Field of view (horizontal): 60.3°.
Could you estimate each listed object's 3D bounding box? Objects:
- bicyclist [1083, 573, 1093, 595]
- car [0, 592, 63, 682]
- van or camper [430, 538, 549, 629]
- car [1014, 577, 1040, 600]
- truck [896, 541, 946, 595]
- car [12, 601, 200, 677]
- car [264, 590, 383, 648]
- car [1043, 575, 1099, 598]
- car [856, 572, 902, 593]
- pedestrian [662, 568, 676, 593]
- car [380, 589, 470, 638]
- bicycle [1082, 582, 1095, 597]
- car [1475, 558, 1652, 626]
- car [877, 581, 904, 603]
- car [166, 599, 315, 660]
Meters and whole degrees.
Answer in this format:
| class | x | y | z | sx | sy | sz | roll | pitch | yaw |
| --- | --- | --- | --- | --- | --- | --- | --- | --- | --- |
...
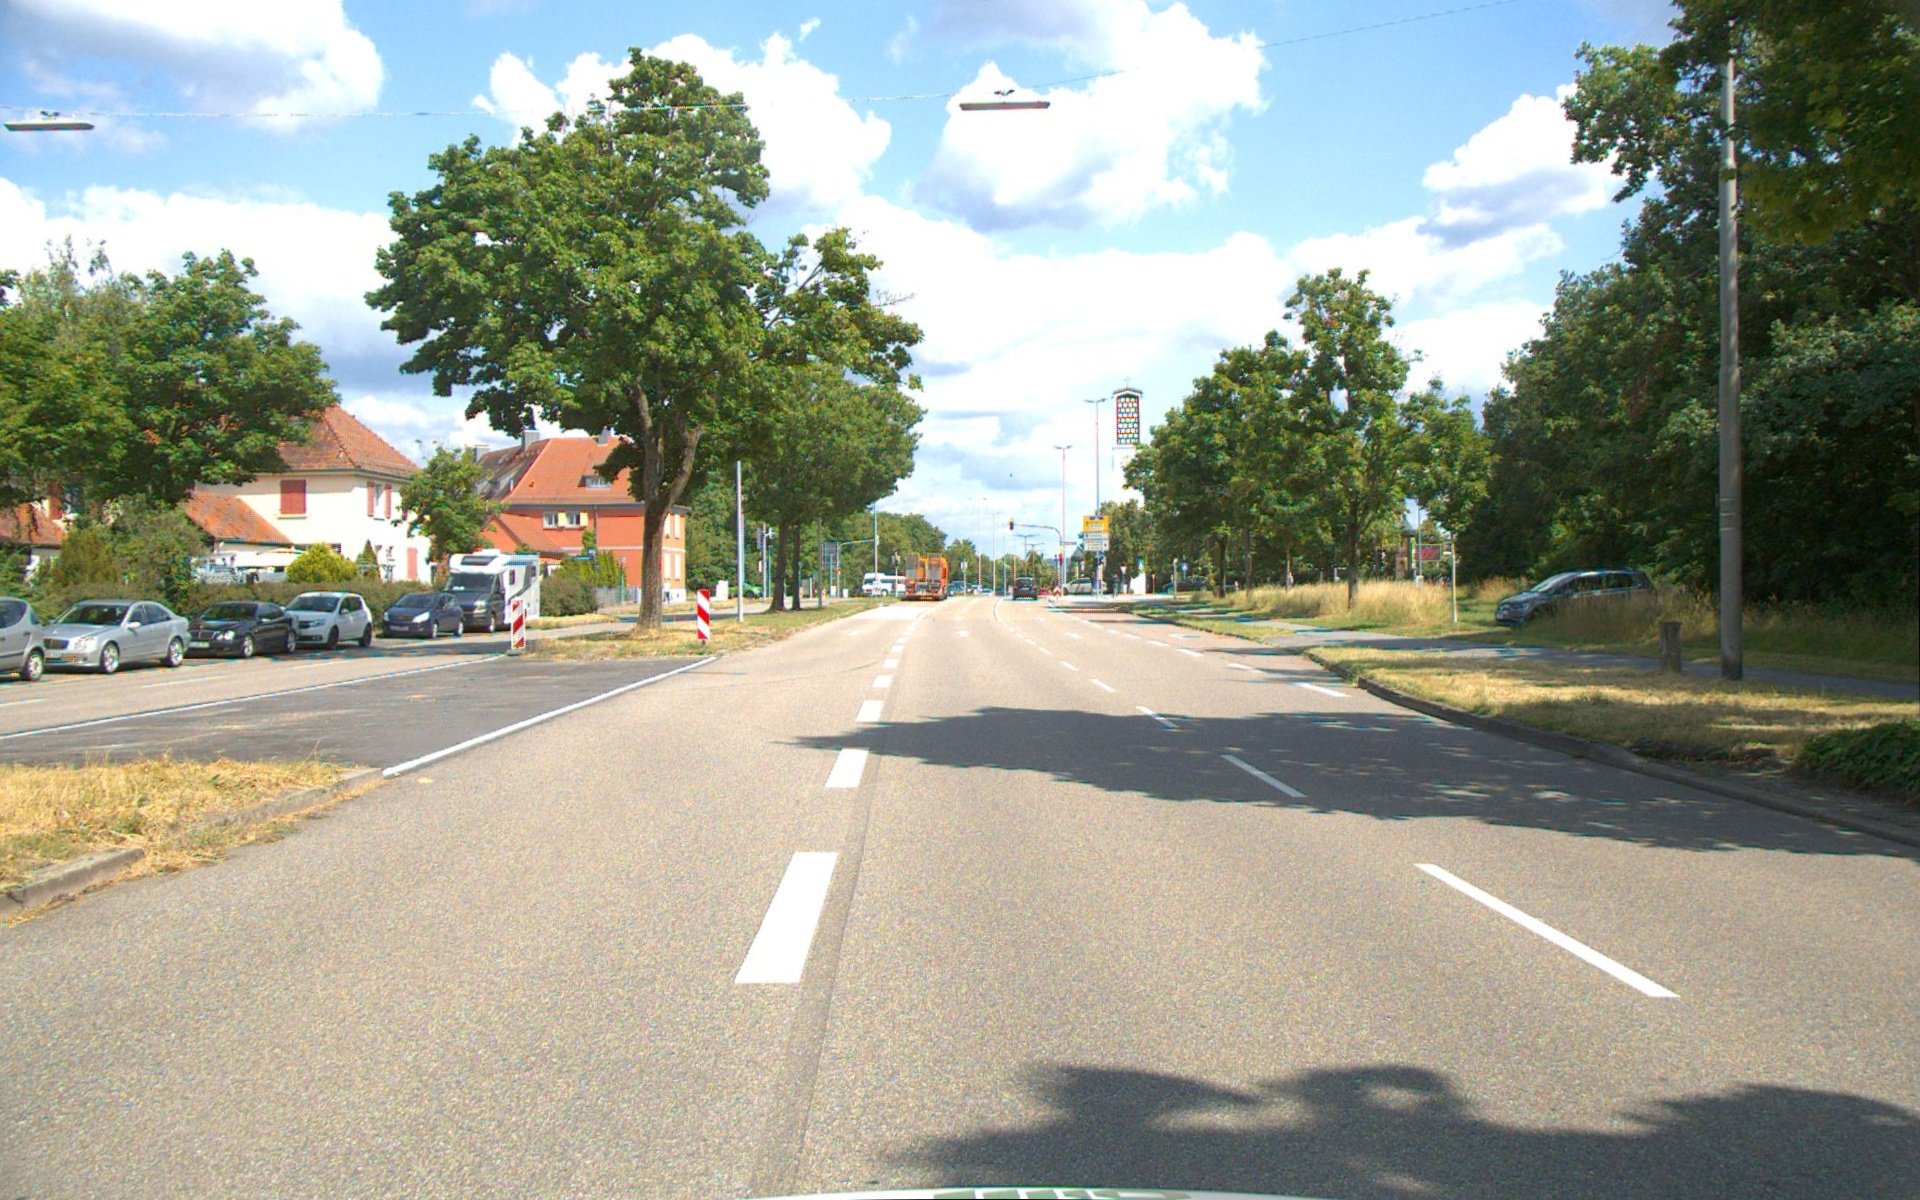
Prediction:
| class | x | y | z | sx | sy | sz | roll | pitch | yaw |
| --- | --- | --- | --- | --- | --- | --- | --- | --- | --- |
| bicyclist | 10.061 | -1.241 | 129.702 | 0.634 | 1.690 | 0.650 | 1 | 0 | 17 |
| car | -17.942 | 0.663 | 29.921 | 1.374 | 1.585 | 3.741 | 1 | 0 | -1 |
| van or camper | -17.667 | -0.651 | 62.607 | 2.212 | 3.166 | 7.322 | 1 | 1 | 1 |
| car | 4.743 | -0.807 | 117.681 | 1.762 | 1.579 | 4.000 | 1 | 0 | 1 |
| truck | -2.687 | -2.181 | 117.317 | 3.007 | 3.474 | 11.069 | 1 | 0 | 1 |
| car | -17.776 | 0.767 | 34.660 | 1.479 | 1.394 | 4.532 | 1 | 1 | 1 |
| car | -17.934 | 0.517 | 46.768 | 1.654 | 1.511 | 4.124 | 1 | 0 | 1 |
| car | 7.577 | -0.925 | 112.977 | 3.516 | 1.467 | 1.469 | 2 | 0 | -17 |
| car | -7.053 | -1.549 | 144.232 | 3.906 | 1.680 | 1.732 | 1 | 0 | -1 |
| pedestrian | -18.771 | -1.246 | 106.645 | 0.681 | 1.611 | 0.851 | 1 | 0 | 1 |
| car | -17.700 | 0.435 | 54.885 | 1.602 | 1.511 | 3.993 | 1 | 0 | 1 |
| bicycle | 10.106 | -0.821 | 129.886 | 0.634 | 1.127 | 1.929 | 1 | 0 | 17 |
| car | 16.202 | -0.247 | 44.473 | 4.084 | 1.519 | 1.782 | -4 | 2 | -7 |
| car | -5.414 | -0.629 | 129.458 | 1.697 | 1.534 | 4.653 | -4 | 0 | 1 |
| car | -17.839 | 0.698 | 41.238 | 1.602 | 1.329 | 4.585 | 1 | 1 | 1 |
